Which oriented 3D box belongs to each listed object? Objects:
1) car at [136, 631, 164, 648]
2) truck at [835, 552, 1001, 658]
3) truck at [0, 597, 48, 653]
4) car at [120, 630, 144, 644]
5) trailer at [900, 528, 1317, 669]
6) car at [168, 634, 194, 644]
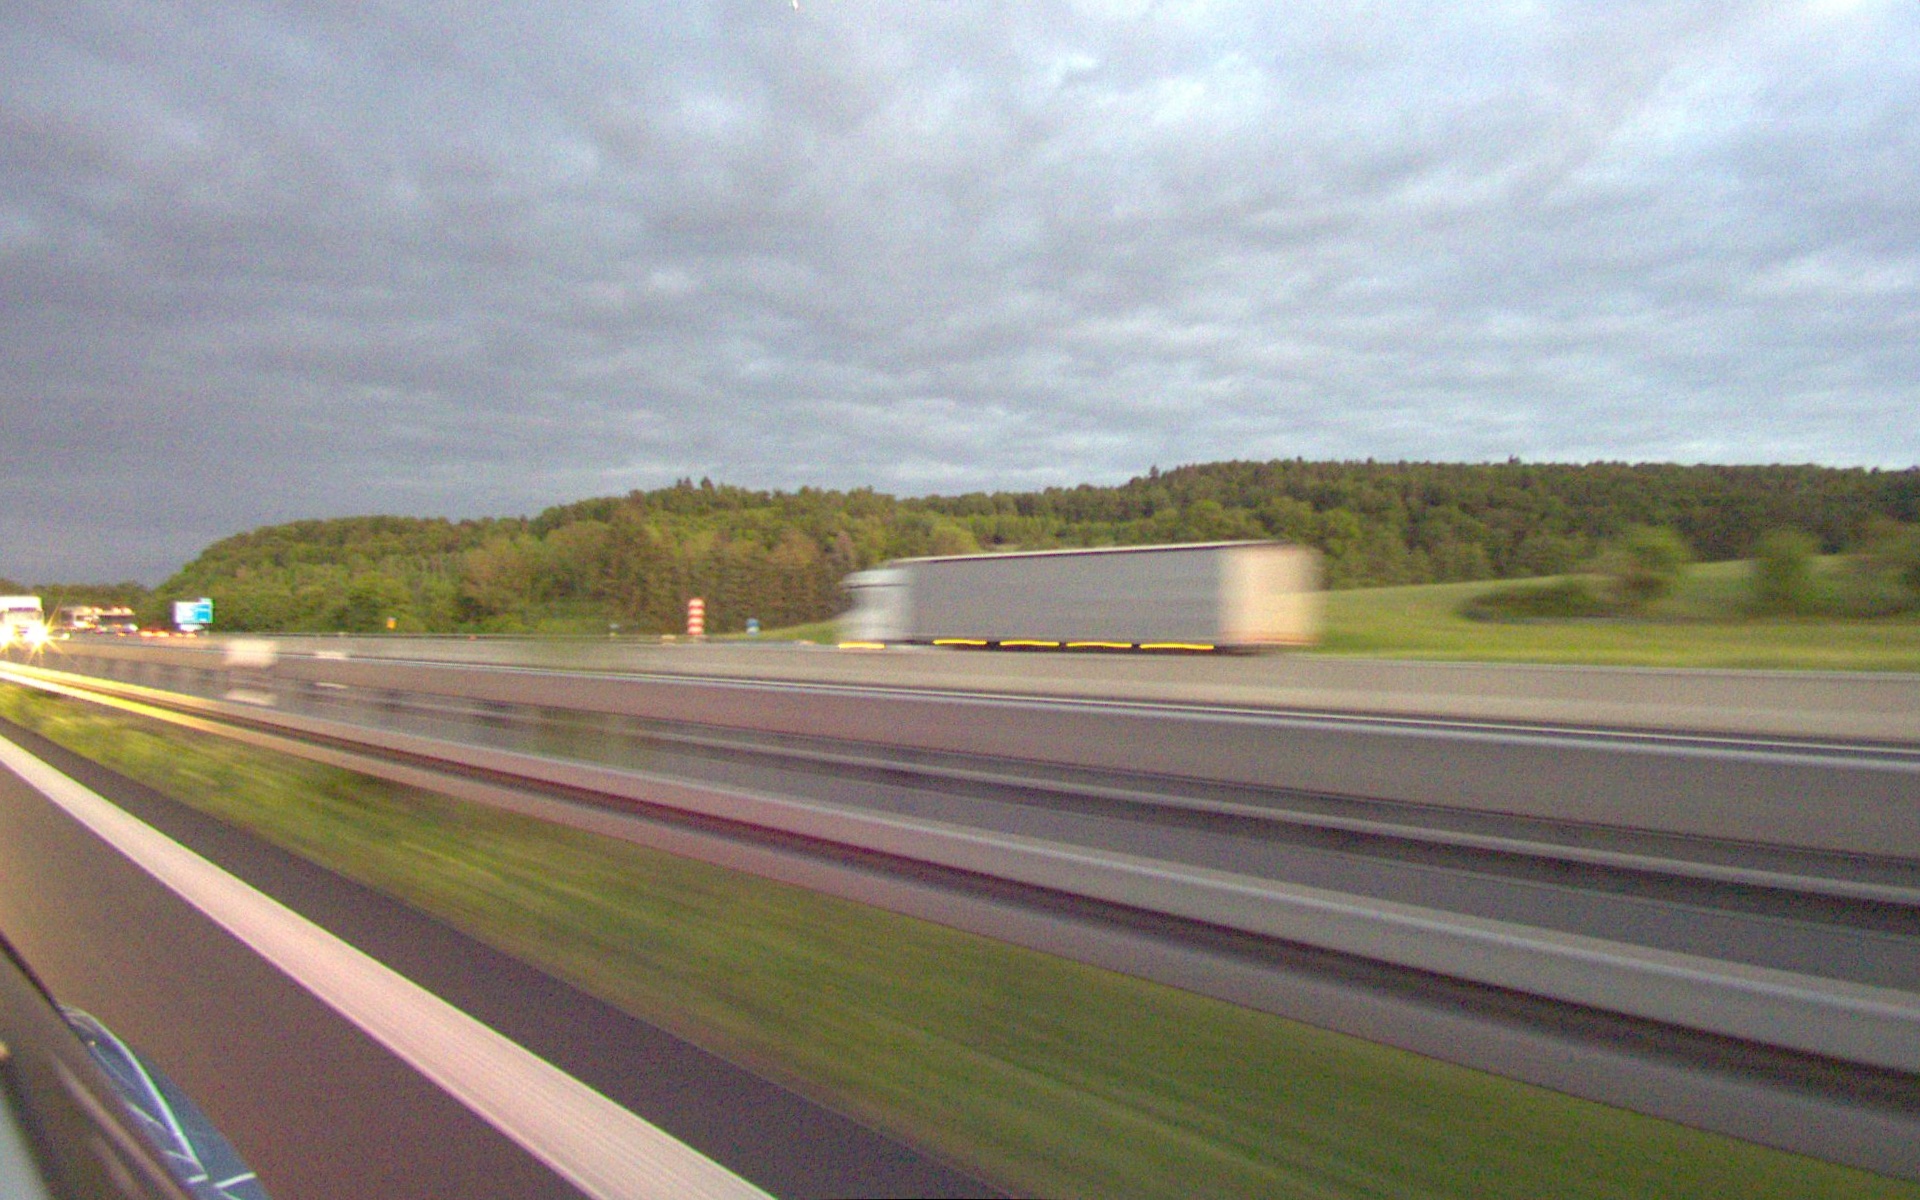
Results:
[{"bbox_3d":[-84.947,4.165,106.157,3.750,1.719,1.665,-2,-2,41],"label":"car"},{"bbox_3d":[-1.618,0.256,38.090,5.494,3.647,3.276,-1,-2,41],"label":"truck"},{"bbox_3d":[-76.484,2.000,81.660,9.885,4.334,3.006,-1,-2,41],"label":"truck"},{"bbox_3d":[-124.591,5.595,152.192,4.731,2.029,1.973,-1,-2,41],"label":"car"},{"bbox_3d":[4.185,0.085,33.063,13.877,3.794,3.292,-1,-2,41],"label":"trailer"},{"bbox_3d":[-100.018,4.989,129.872,3.889,1.329,1.750,-1,-2,39],"label":"car"}]
